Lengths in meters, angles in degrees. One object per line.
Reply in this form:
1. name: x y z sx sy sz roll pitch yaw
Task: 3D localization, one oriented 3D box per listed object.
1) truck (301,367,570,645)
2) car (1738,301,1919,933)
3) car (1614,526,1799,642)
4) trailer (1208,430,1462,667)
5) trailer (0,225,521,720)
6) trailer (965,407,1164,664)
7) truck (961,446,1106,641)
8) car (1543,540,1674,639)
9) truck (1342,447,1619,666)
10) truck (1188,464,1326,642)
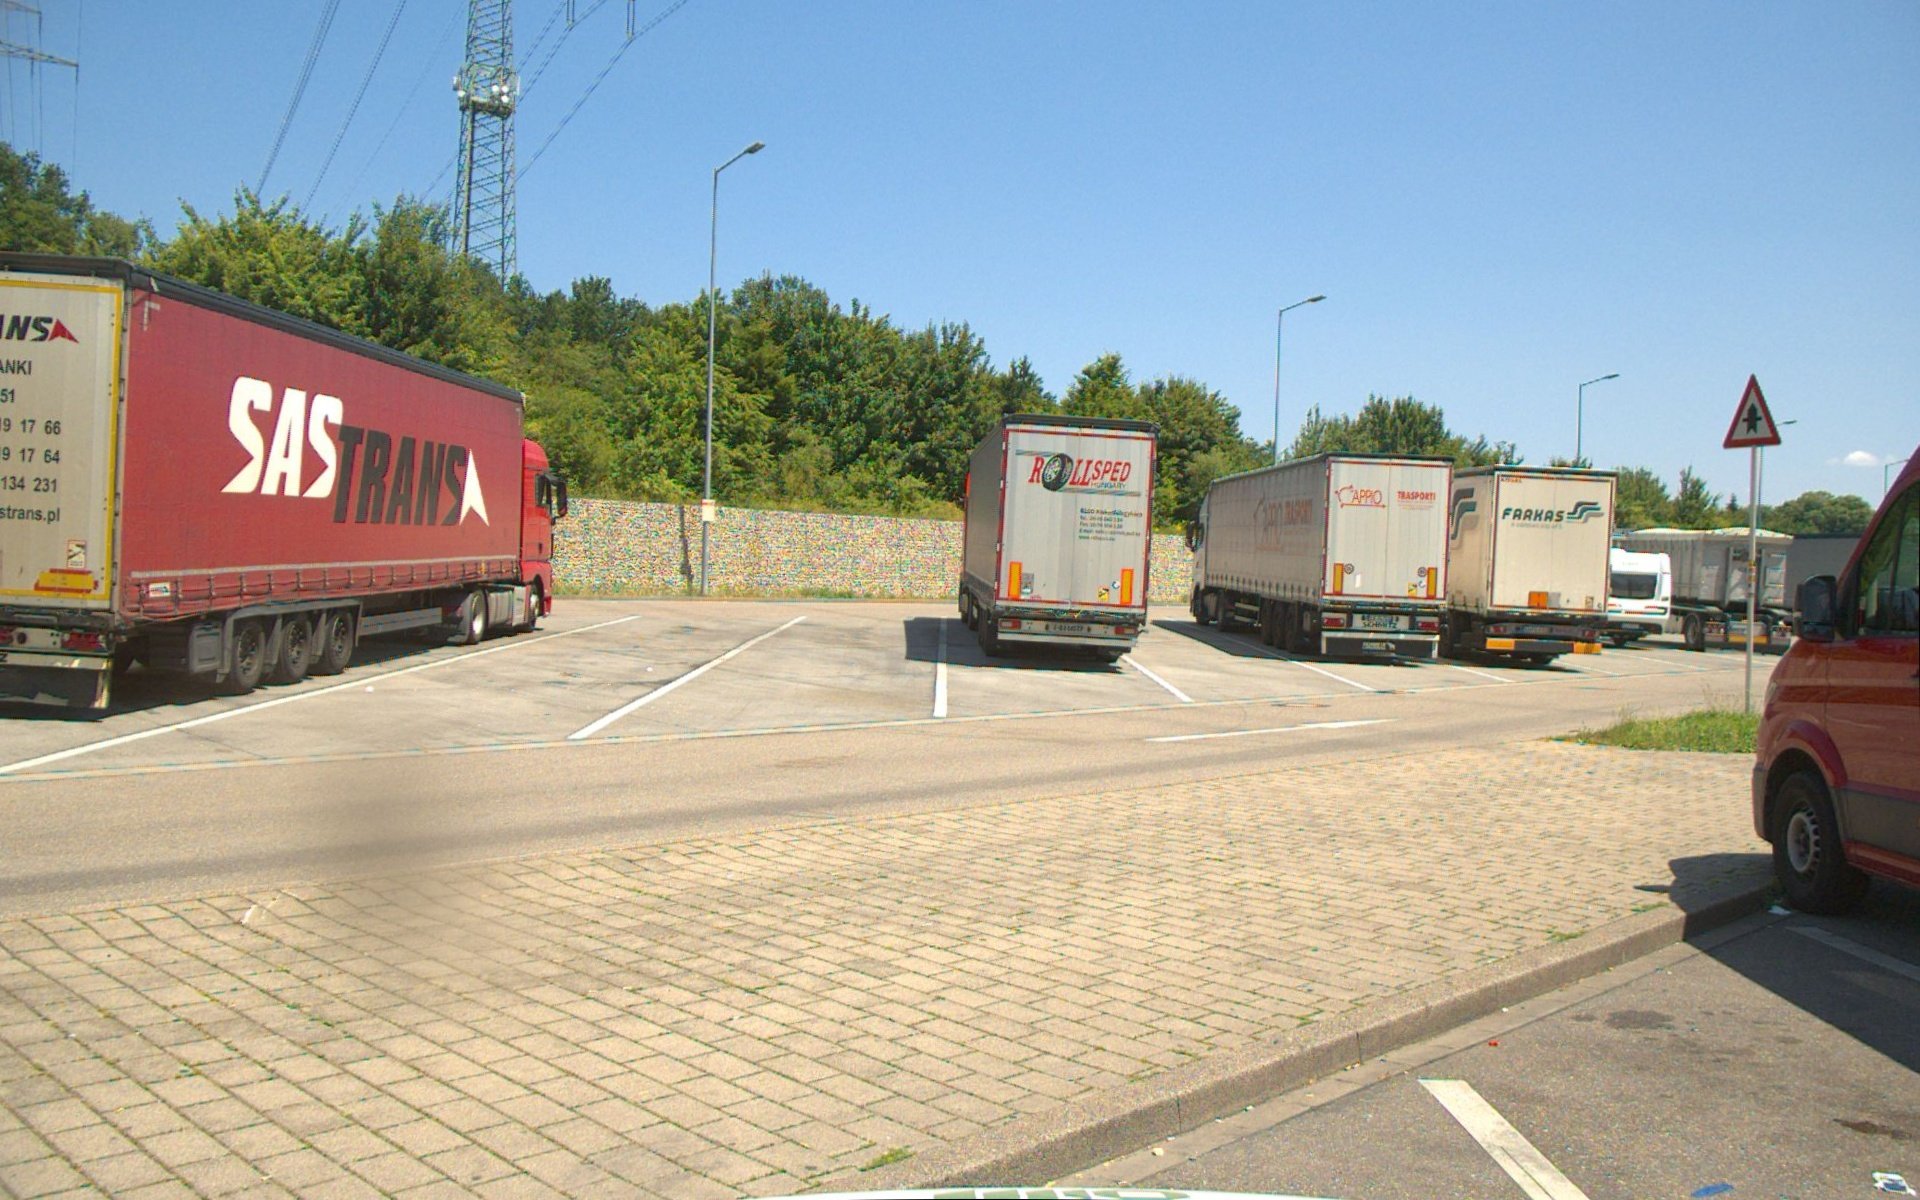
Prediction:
1. truck: -8.713 -1.493 28.242 2.749 4.205 5.893 1 1 -1
2. car: 4.976 0.105 5.563 1.952 2.679 6.385 1 1 3
3. car: 21.712 -0.501 48.497 2.448 3.128 6.350 1 1 -1
4. trailer: 8.188 -1.100 38.291 2.627 4.530 12.826 1 1 -1
5. trailer: -8.627 -1.238 20.987 2.743 4.293 13.200 1 1 -1
6. trailer: 1.692 -1.130 32.203 2.838 4.083 11.314 1 1 -1
7. truck: 1.550 -1.242 37.791 2.813 4.050 6.028 1 1 -2
8. car: 18.247 -0.273 46.739 2.072 2.645 3.999 1 0 -1
9. truck: 11.728 -0.838 38.869 2.534 4.299 11.967 1 0 -1
10. truck: 8.033 -1.252 45.398 2.607 4.530 5.863 1 1 -1
